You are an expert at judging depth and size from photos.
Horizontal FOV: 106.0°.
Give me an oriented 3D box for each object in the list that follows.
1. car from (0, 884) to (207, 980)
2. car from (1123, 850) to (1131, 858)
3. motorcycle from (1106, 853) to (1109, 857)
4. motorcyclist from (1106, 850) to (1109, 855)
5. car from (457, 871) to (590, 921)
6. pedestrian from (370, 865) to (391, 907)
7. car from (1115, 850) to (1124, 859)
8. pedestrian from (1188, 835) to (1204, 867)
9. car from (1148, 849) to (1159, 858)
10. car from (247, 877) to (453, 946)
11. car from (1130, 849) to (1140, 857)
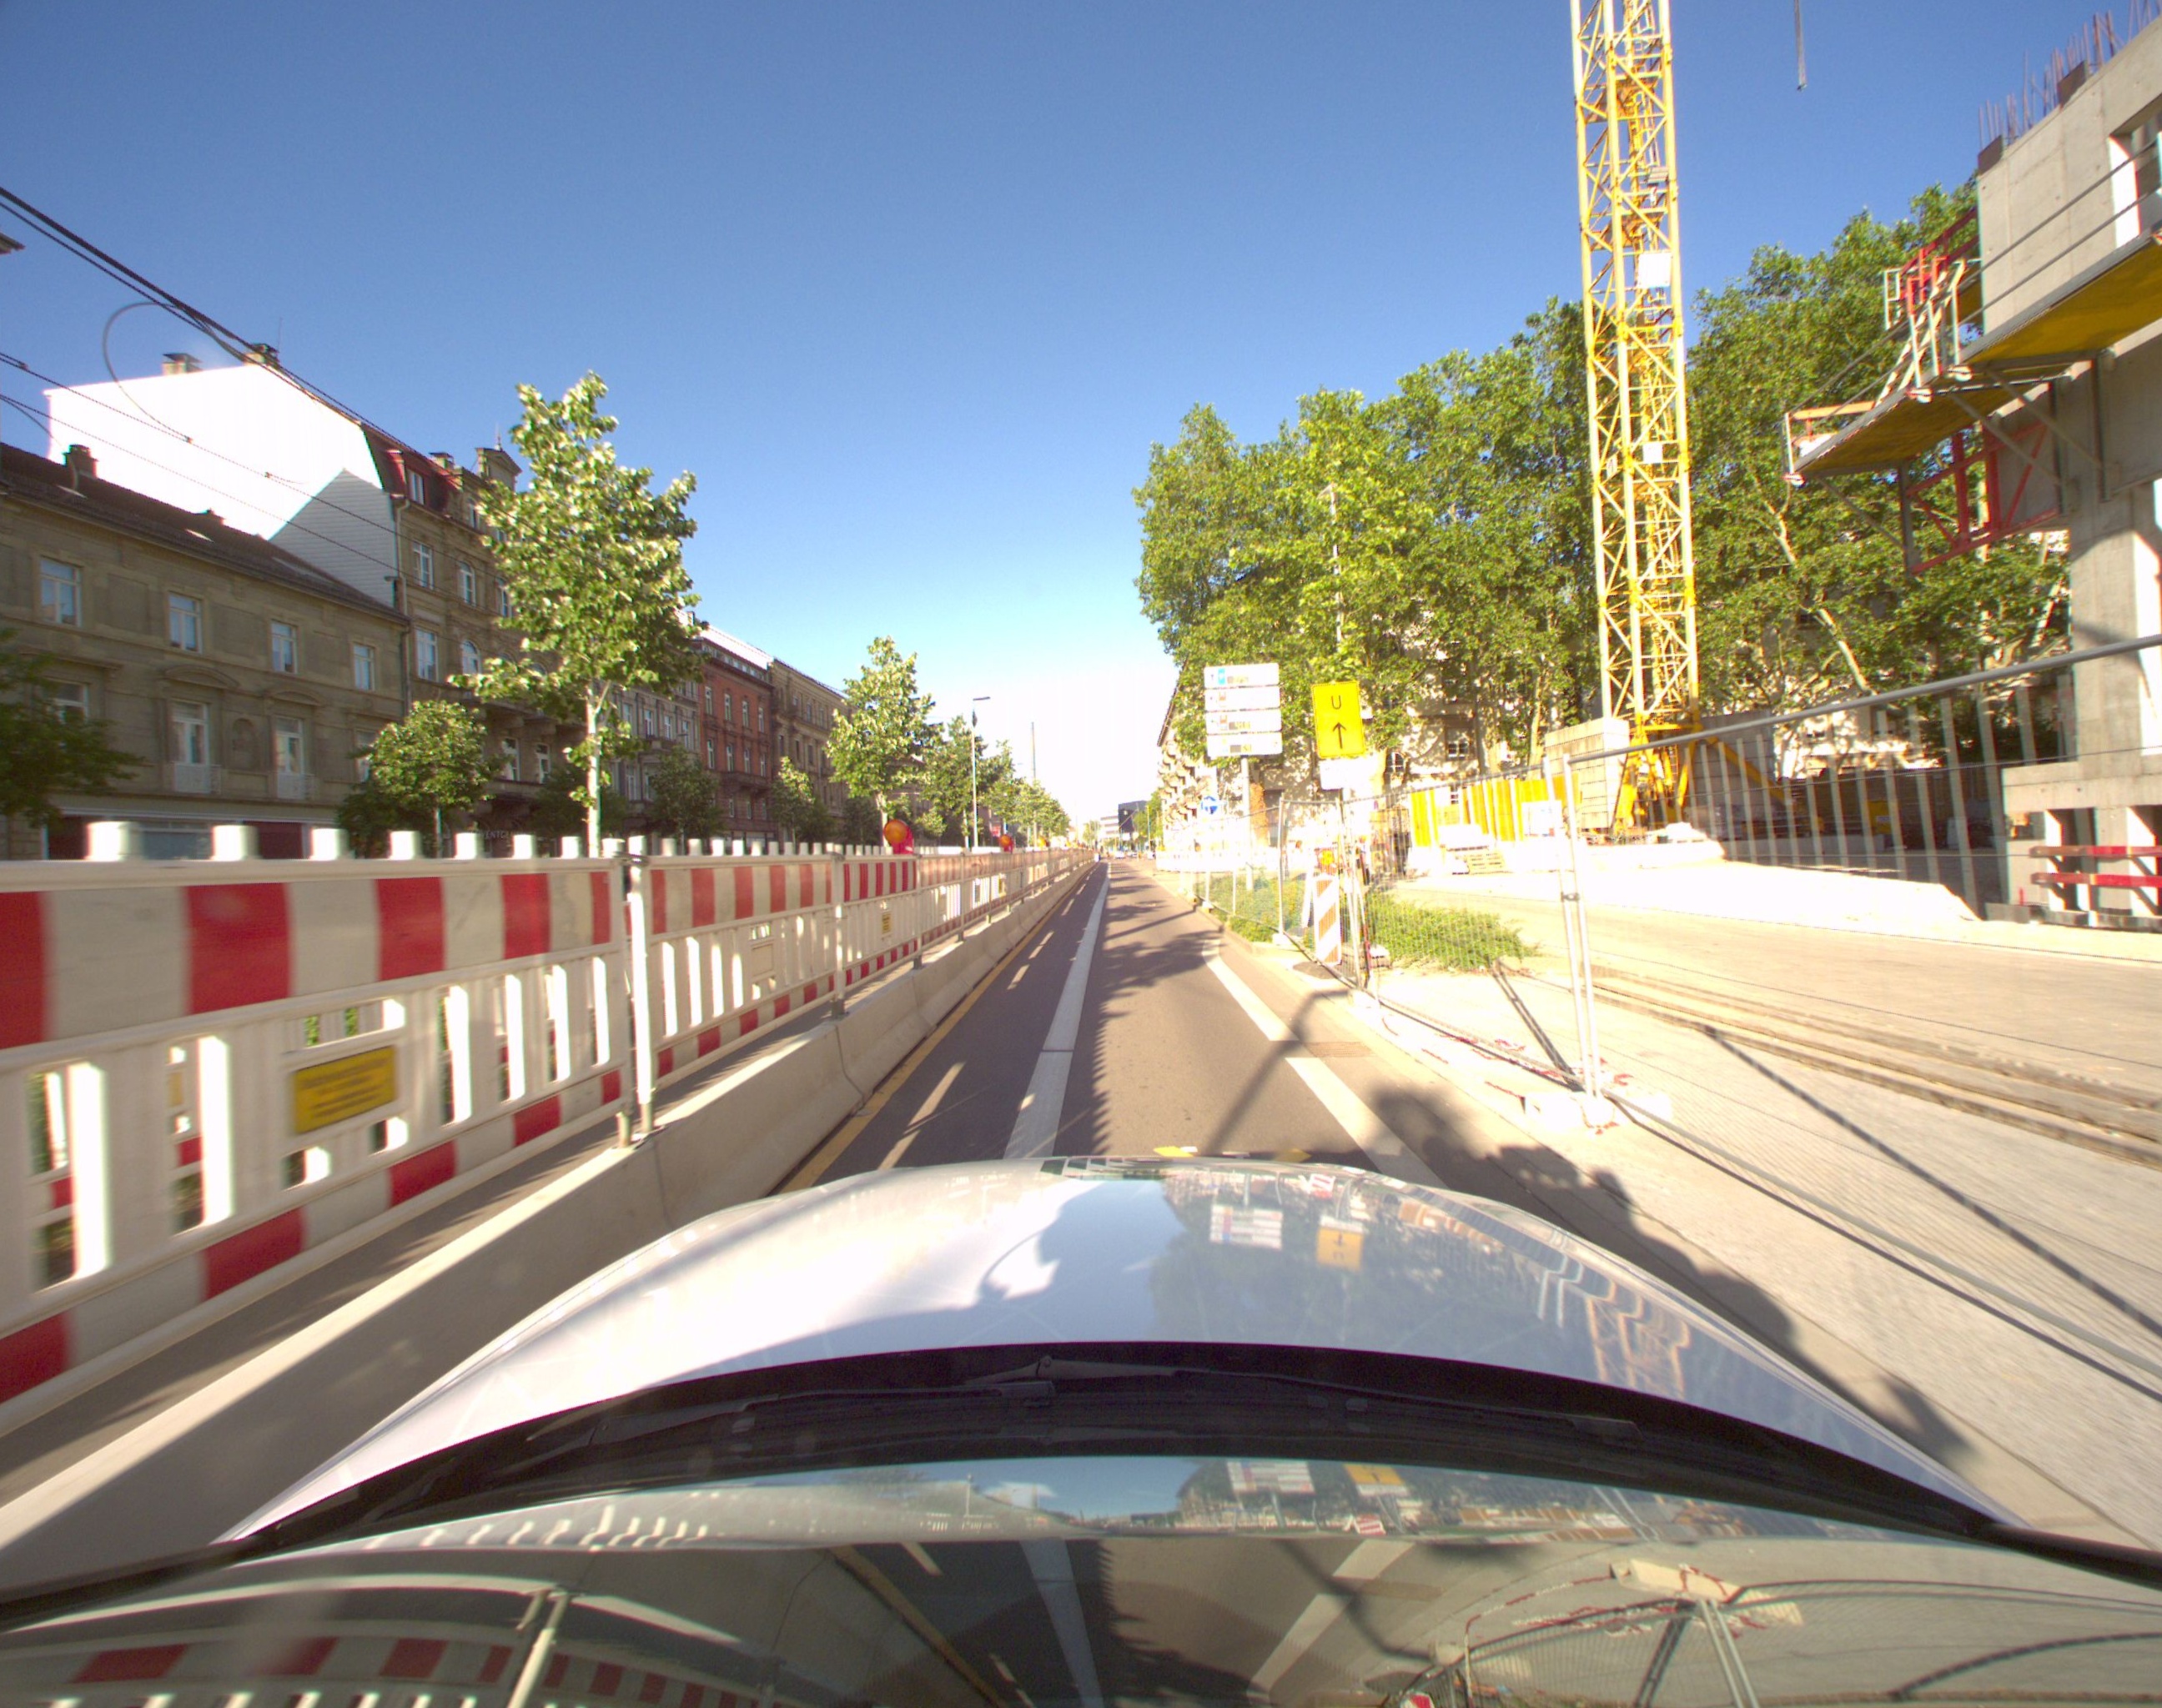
[{"bbox_3d":[-21.311,1.576,17.144,1.560,1.675,3.811,-3,0,2],"label":"car"},{"bbox_3d":[11.662,-0.037,208.213,1.876,1.842,3.670,-3,0,2],"label":"car"},{"bbox_3d":[6.541,0.203,203.055,0.628,0.896,1.622,-2,0,2],"label":"motorcycle"},{"bbox_3d":[6.520,-0.338,203.130,0.628,1.263,0.606,-2,0,2],"label":"motorcyclist"},{"bbox_3d":[-20.753,1.504,30.601,1.560,1.562,4.717,-3,0,2],"label":"car"},{"bbox_3d":[-26.253,1.185,30.507,0.403,1.534,0.435,0,0,2],"label":"pedestrian"},{"bbox_3d":[8.192,0.025,173.323,1.876,1.842,3.670,-3,0,2],"label":"car"},{"bbox_3d":[6.422,-0.176,45.544,0.667,1.746,0.777,-2,0,-3],"label":"pedestrian"},{"bbox_3d":[13.695,-0.091,153.963,1.875,1.589,3.671,-3,0,3],"label":"car"},{"bbox_3d":[-21.082,1.579,23.801,1.560,1.562,4.717,-3,0,2],"label":"car"},{"bbox_3d":[12.104,-0.264,182.502,1.876,1.842,3.670,-3,0,2],"label":"car"}]
